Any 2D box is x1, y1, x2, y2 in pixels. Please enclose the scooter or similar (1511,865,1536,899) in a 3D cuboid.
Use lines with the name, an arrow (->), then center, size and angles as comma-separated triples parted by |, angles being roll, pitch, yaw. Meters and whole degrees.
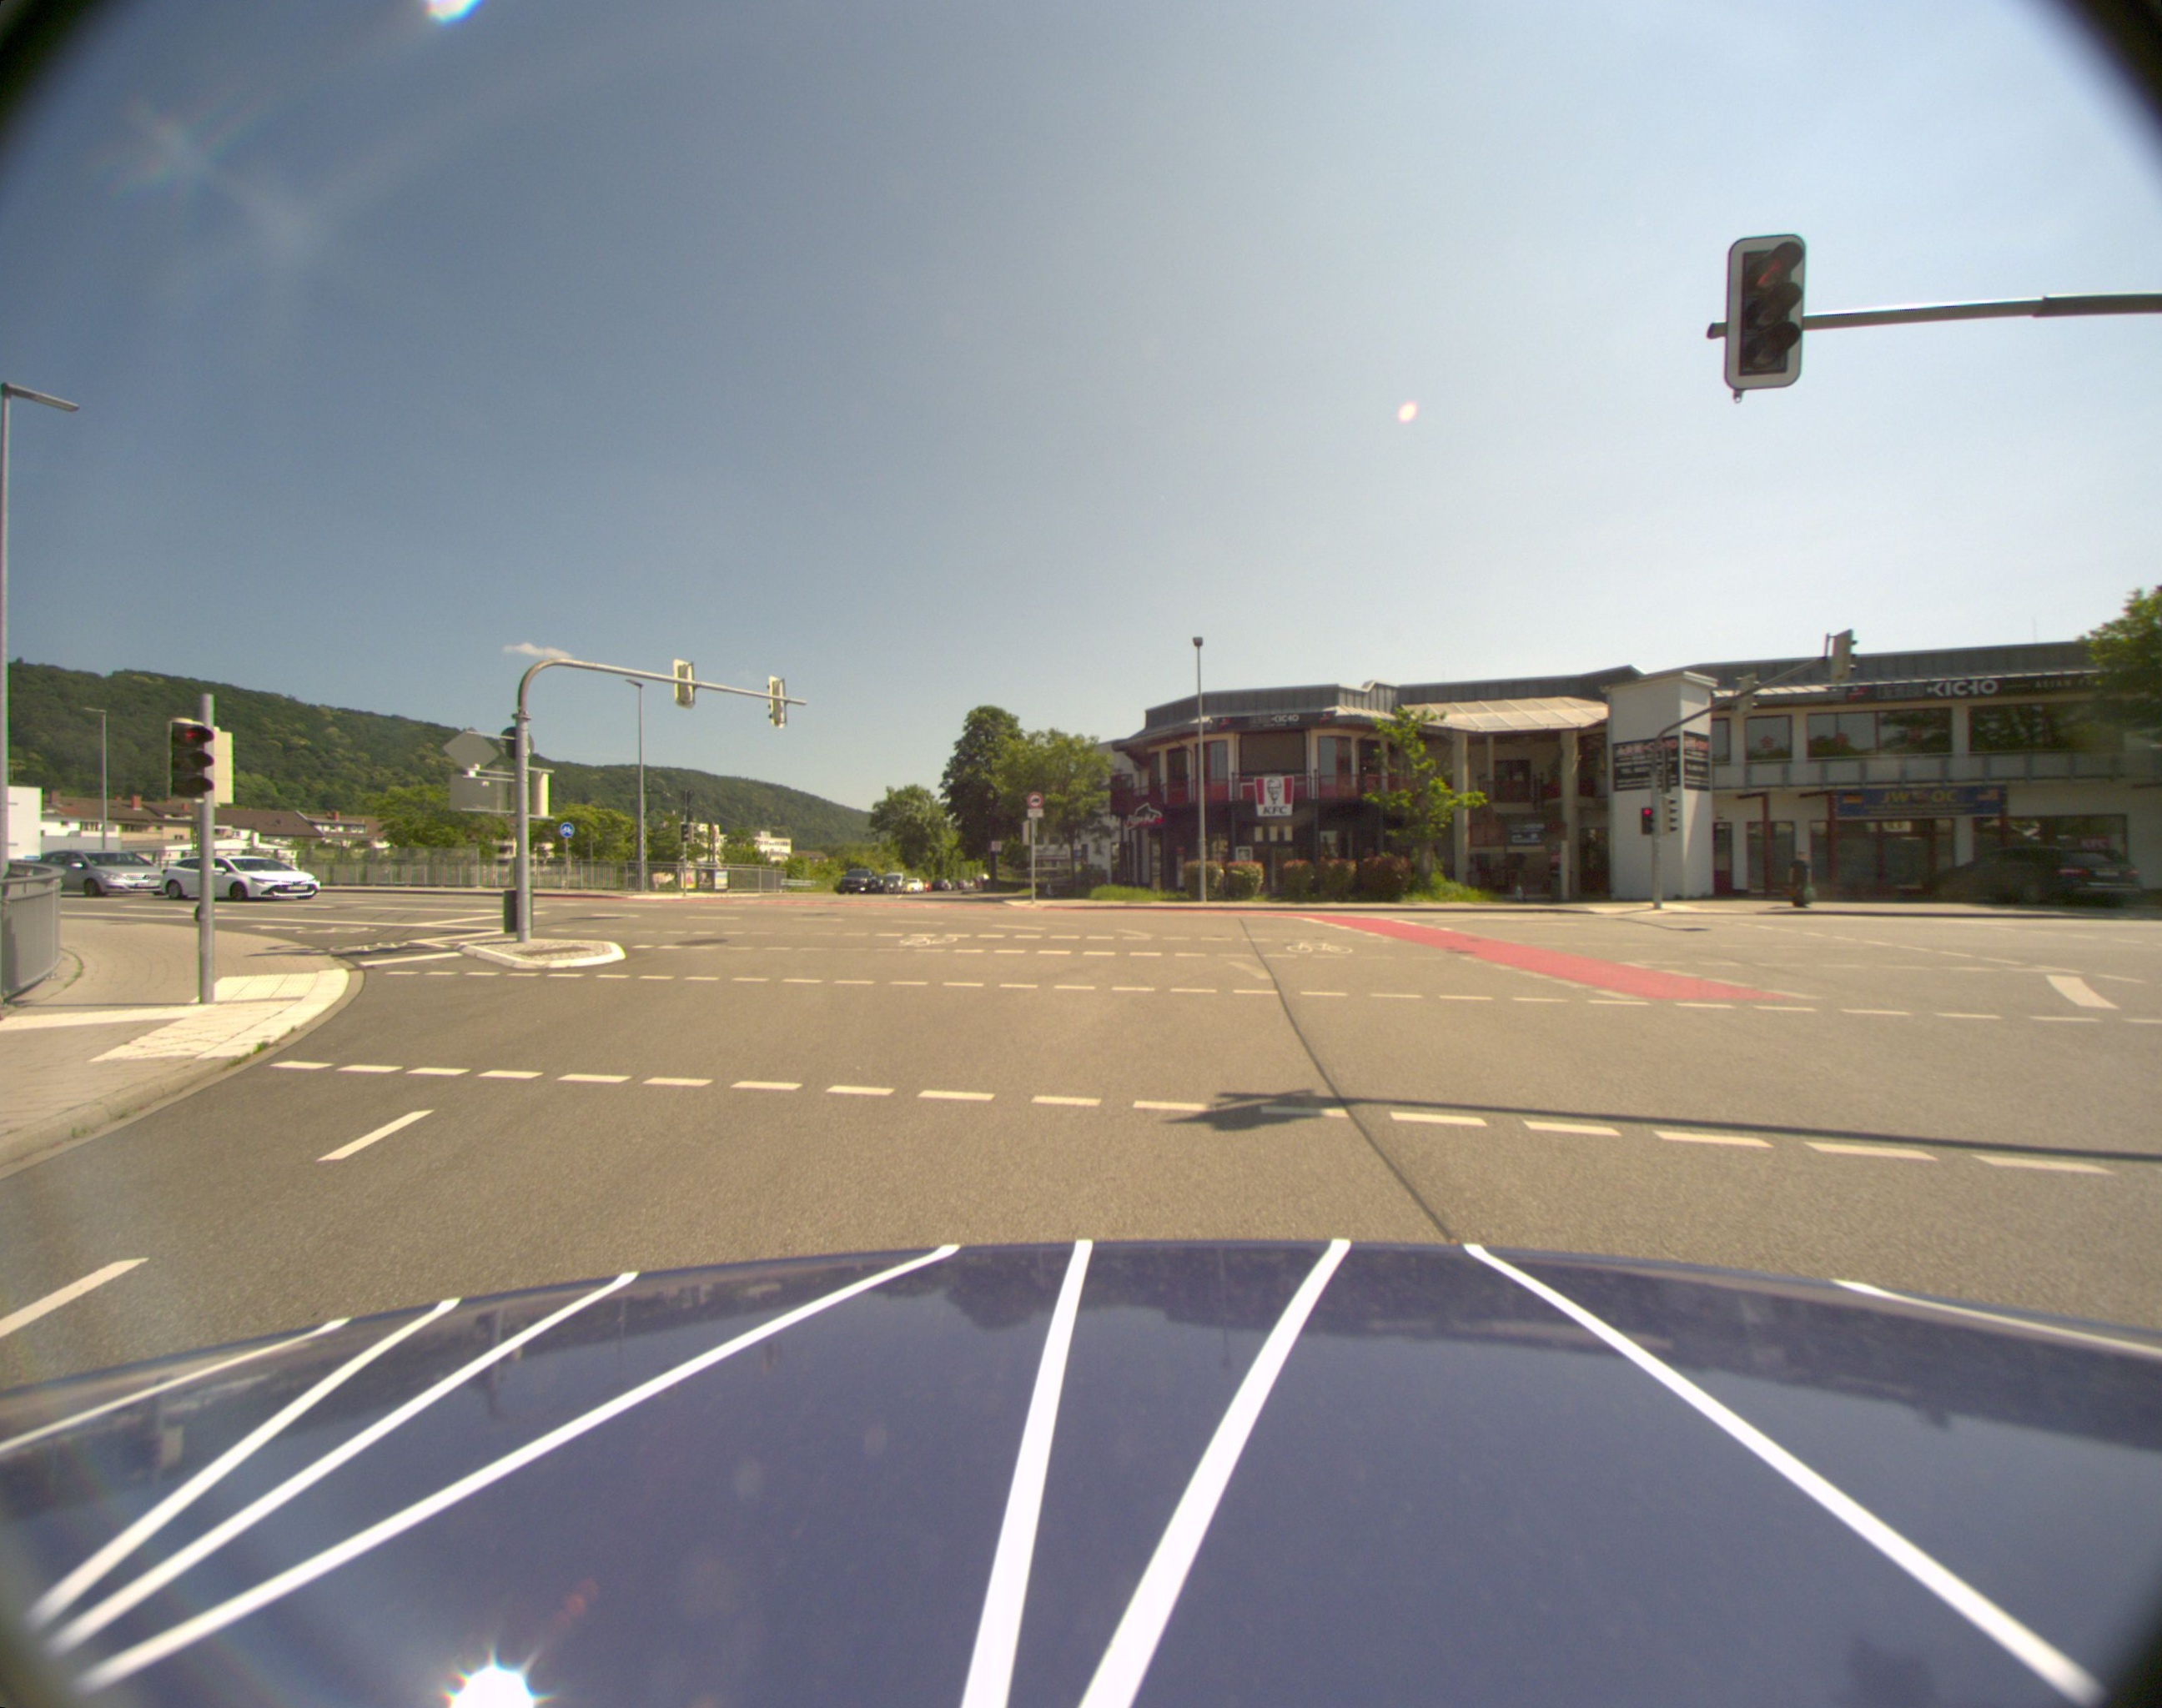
scooter or similar -> 15.386, 0.957, 26.454 | 0.499, 1.117, 1.507 | 0, 0, 21

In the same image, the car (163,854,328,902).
car -> -26.817, 0.758, 24.418 | 4.402, 1.461, 1.739 | -1, 0, 15

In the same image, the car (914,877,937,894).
car -> -15.463, 3.142, 75.560 | 1.672, 1.523, 3.999 | 0, 0, -3

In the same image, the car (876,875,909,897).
car -> -14.345, 2.412, 58.095 | 1.672, 1.523, 3.999 | 0, 0, -3

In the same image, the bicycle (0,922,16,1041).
bicycle -> -9.928, 1.193, 6.606 | 0.299, 1.094, 1.616 | -1, 0, -37

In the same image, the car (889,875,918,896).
car -> -14.742, 2.584, 63.404 | 1.672, 1.625, 3.999 | 0, 0, -3

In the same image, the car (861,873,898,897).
car -> -14.084, 2.158, 53.280 | 1.672, 1.523, 3.999 | 0, 0, -3

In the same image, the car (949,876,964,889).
car -> -17.058, 3.853, 104.088 | 1.672, 1.524, 3.998 | -4, 0, -5

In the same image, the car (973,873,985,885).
car -> -17.071, 4.185, 127.525 | 1.672, 1.718, 3.998 | -4, 0, -5

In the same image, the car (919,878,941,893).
car -> -16.430, 3.391, 82.823 | 1.672, 1.427, 3.999 | 0, 0, -3

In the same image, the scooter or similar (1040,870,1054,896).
scooter or similar -> -1.519, 1.298, 34.030 | 0.427, 1.117, 1.452 | 0, 0, 6

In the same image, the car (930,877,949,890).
car -> -17.379, 3.641, 93.405 | 1.672, 1.427, 3.999 | 0, 0, -3

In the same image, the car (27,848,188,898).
car -> -33.428, 0.634, 26.104 | 4.434, 1.617, 1.739 | -1, 0, 14

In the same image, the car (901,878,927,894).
car -> -15.193, 2.902, 69.136 | 1.672, 1.309, 3.999 | 0, 0, -3

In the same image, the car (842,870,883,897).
car -> -13.770, 1.823, 48.027 | 1.831, 1.617, 4.234 | 0, 0, -7

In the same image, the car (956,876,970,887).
car -> -17.178, 3.957, 110.605 | 1.672, 1.523, 3.999 | 0, 0, -3

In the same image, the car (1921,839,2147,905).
car -> 29.146, 0.515, 23.528 | 1.805, 1.844, 4.664 | 0, 0, 12

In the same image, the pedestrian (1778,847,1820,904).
pedestrian -> 20.945, 0.612, 22.172 | 0.732, 1.636, 0.843 | 0, 0, 32
